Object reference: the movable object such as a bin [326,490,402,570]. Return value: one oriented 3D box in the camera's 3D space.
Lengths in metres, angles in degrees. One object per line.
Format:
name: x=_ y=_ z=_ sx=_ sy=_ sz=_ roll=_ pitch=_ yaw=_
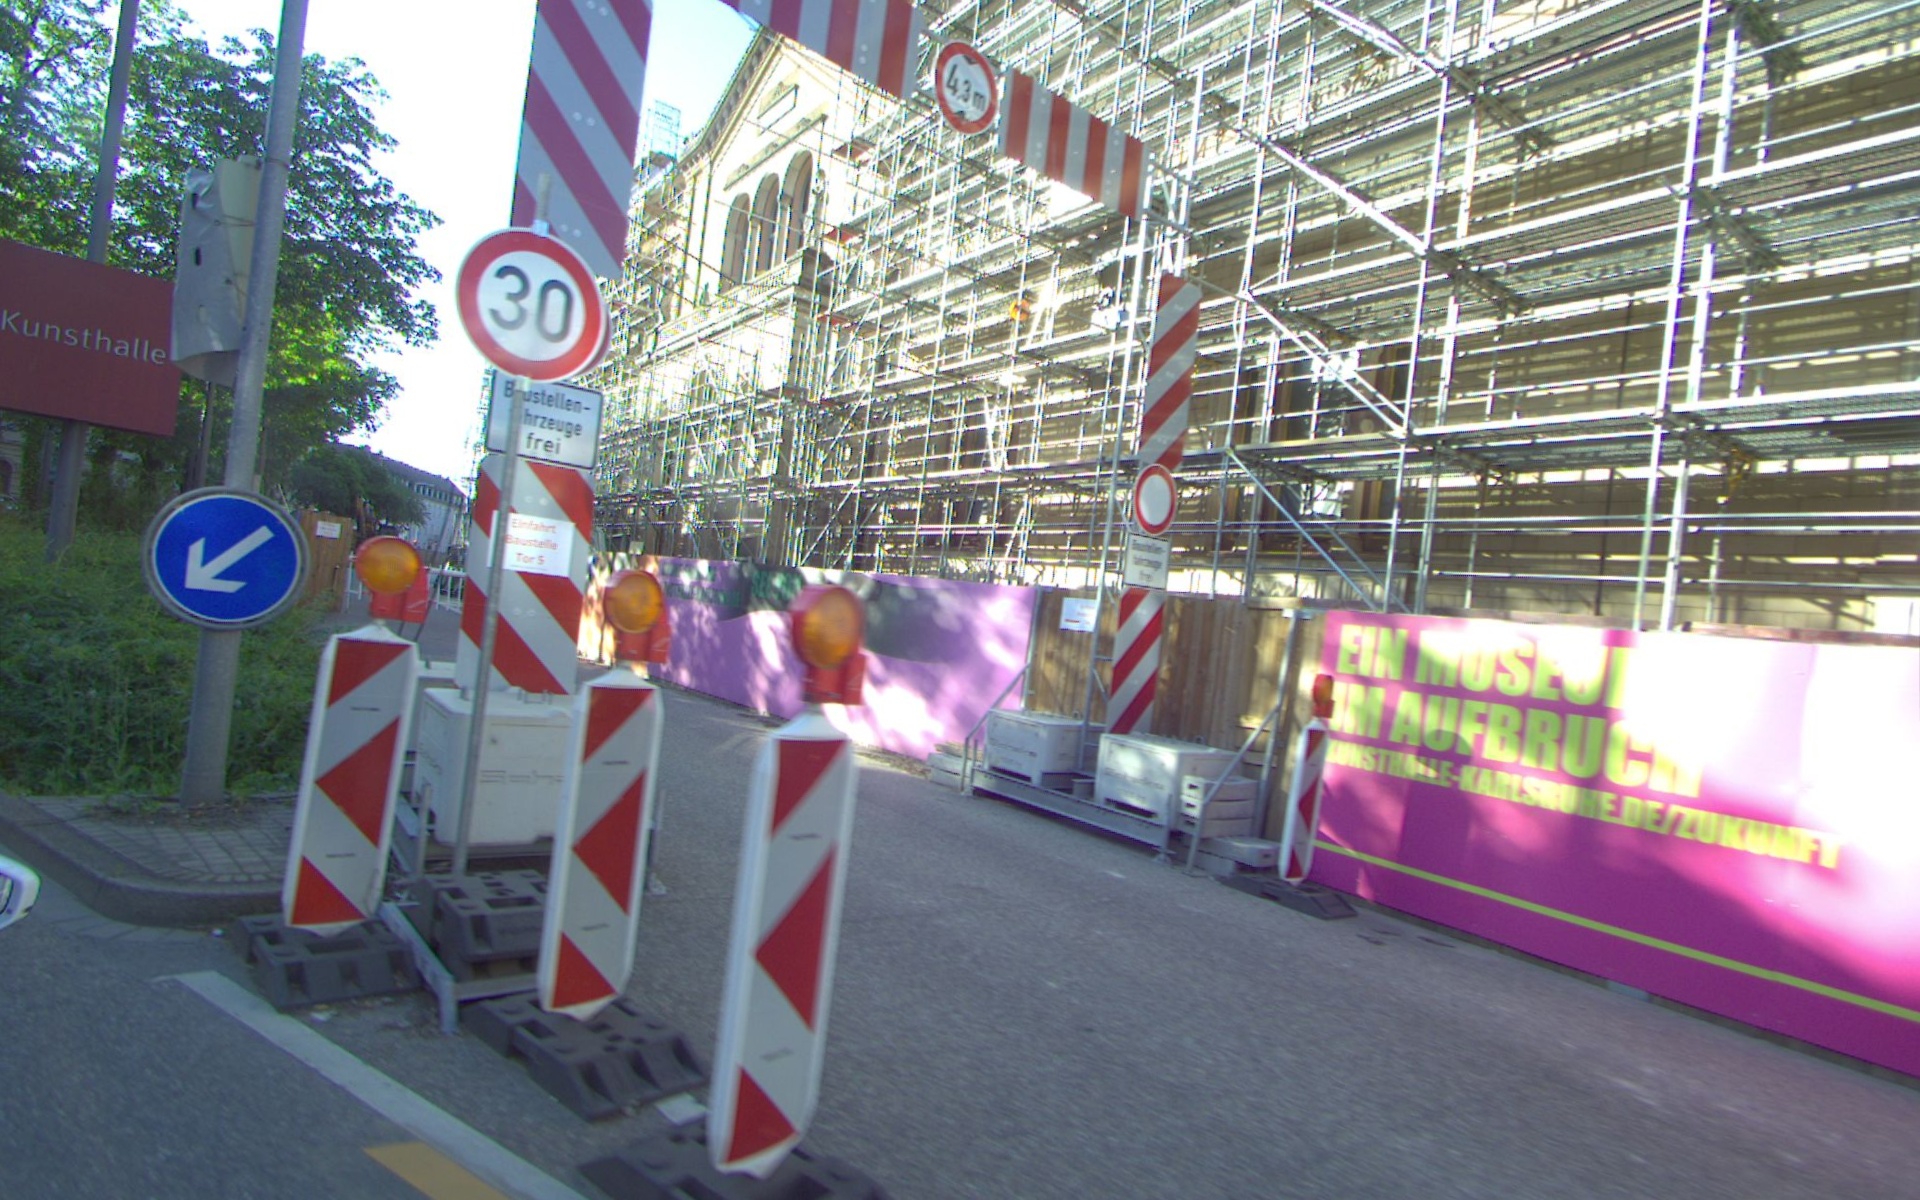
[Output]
movable object such as a bin: x=-39.203 y=-4.491 z=66.446 sx=3.277 sy=4.595 sz=7.854 roll=6 pitch=0 yaw=-26
